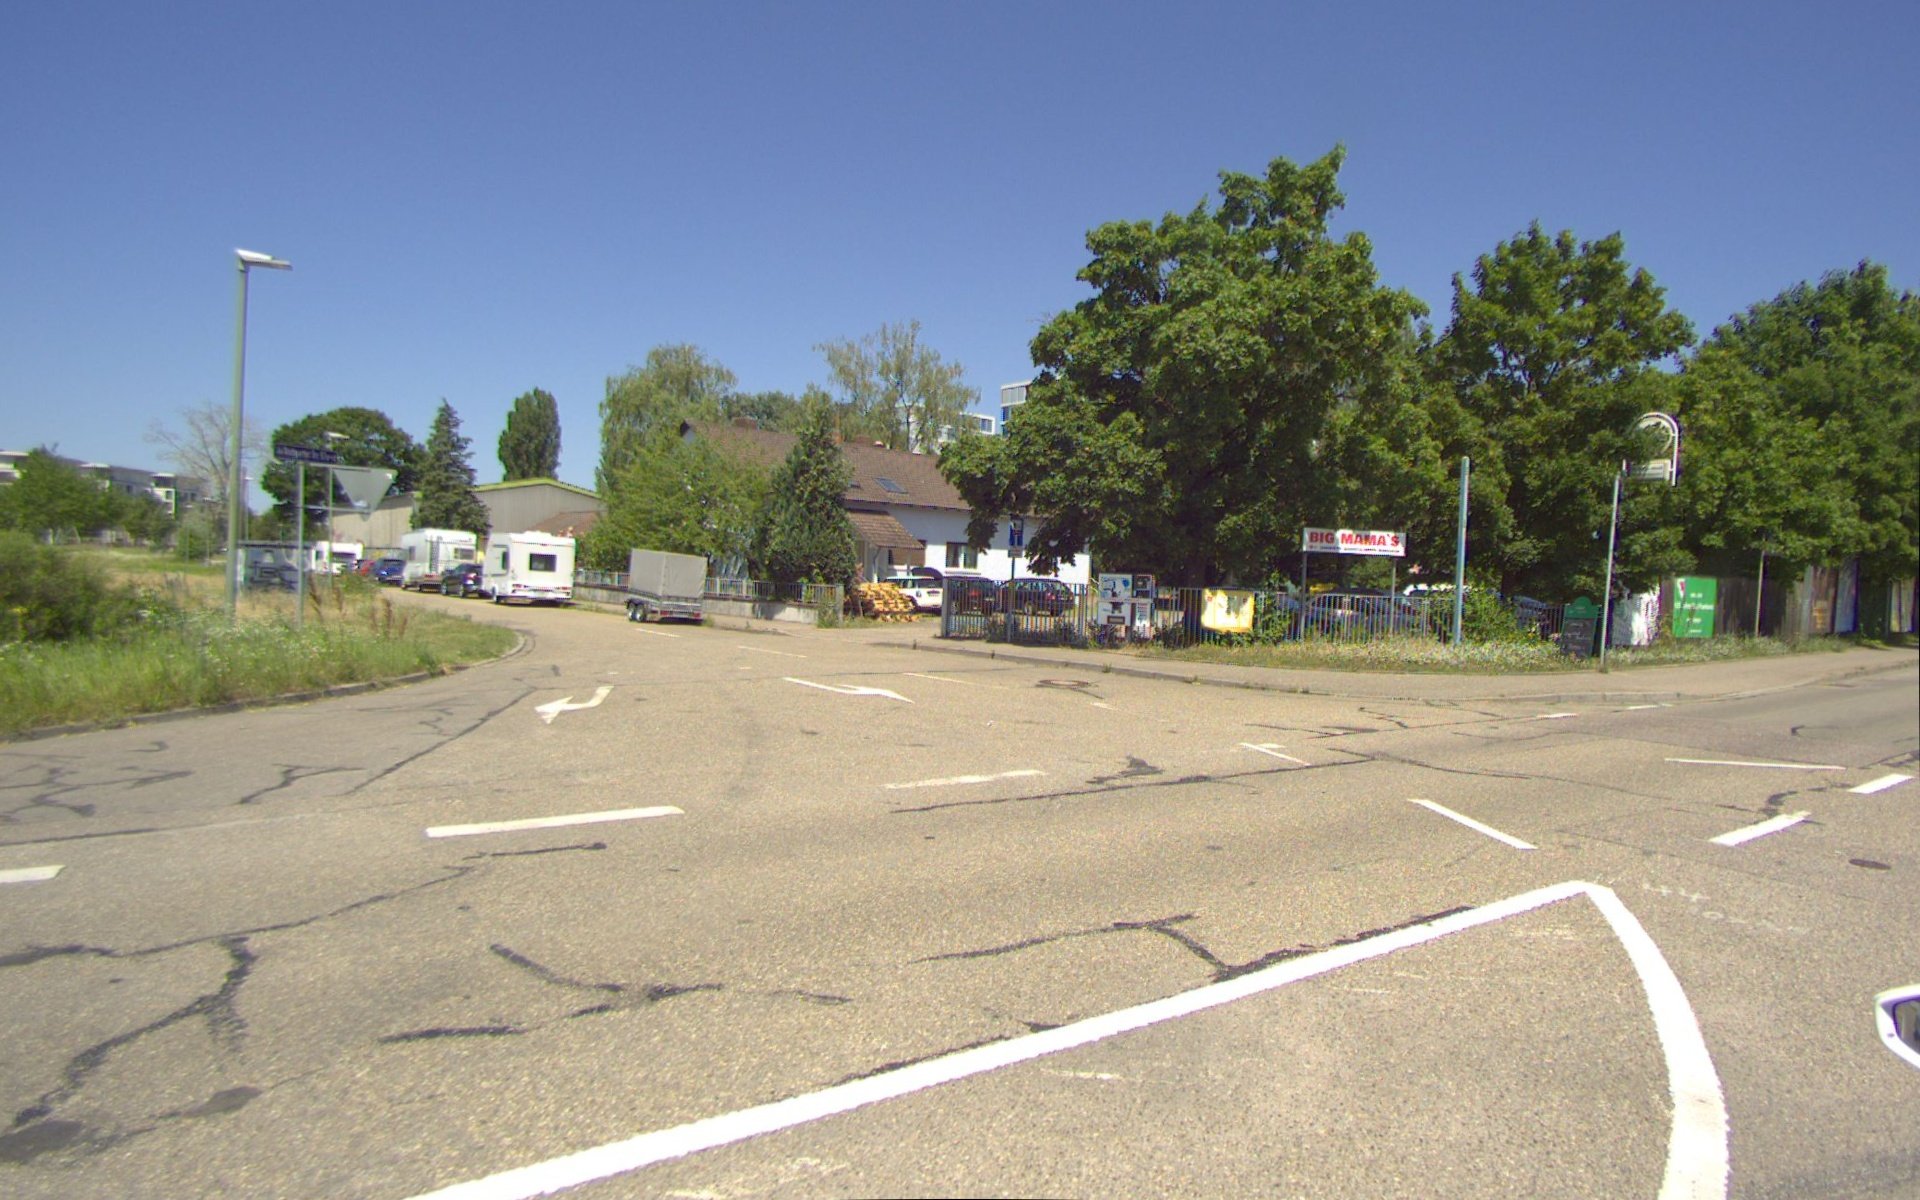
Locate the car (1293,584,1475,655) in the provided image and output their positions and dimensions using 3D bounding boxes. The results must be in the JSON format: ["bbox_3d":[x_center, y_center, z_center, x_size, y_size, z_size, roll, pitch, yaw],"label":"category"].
[{"bbox_3d":[12.699,0.535,30.404,1.978,1.865,4.795,1,1,-32],"label":"car"}]

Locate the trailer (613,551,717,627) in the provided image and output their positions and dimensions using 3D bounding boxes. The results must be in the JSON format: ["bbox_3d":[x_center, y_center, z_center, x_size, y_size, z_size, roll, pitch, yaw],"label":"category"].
[{"bbox_3d":[-8.736,-0.347,29.569,1.745,2.073,3.386,1,1,-39],"label":"trailer"}]

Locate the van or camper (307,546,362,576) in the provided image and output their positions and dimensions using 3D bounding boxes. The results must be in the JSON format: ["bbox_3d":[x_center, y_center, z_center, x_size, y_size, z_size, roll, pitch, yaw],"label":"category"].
[{"bbox_3d":[-43.216,-2.698,69.350,2.341,1.905,4.996,1,1,-42],"label":"van or camper"}]

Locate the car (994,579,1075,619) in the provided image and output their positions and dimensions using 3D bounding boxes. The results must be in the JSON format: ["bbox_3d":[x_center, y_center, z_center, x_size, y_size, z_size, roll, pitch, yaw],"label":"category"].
[{"bbox_3d":[2.963,-0.046,40.461,1.530,1.466,3.108,1,1,-37],"label":"car"}]

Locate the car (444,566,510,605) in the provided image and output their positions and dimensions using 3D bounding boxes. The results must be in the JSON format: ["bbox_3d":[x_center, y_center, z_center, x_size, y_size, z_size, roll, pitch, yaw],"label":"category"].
[{"bbox_3d":[-21.350,-0.649,44.287,1.897,1.573,3.958,1,2,-37],"label":"car"}]

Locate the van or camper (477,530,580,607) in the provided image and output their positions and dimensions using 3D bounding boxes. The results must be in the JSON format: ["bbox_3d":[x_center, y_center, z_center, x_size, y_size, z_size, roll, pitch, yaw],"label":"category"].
[{"bbox_3d":[-16.466,-1.220,38.221,2.471,2.626,4.415,1,4,-39],"label":"van or camper"}]

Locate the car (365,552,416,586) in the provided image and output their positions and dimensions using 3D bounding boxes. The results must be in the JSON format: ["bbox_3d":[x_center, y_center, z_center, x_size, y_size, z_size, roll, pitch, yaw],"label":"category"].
[{"bbox_3d":[-31.872,-1.750,56.173,1.744,1.795,3.535,1,1,-42],"label":"car"}]

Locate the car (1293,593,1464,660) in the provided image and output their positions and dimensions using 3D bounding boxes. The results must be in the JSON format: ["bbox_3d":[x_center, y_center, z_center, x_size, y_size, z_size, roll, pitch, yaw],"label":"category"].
[{"bbox_3d":[11.177,0.662,27.013,1.793,1.546,3.833,1,1,-37],"label":"car"}]

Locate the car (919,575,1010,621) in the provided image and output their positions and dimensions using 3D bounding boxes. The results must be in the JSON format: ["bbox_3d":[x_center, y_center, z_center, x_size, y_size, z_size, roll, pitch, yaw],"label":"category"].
[{"bbox_3d":[0.129,-0.098,38.108,1.757,1.586,3.309,1,1,-37],"label":"car"}]

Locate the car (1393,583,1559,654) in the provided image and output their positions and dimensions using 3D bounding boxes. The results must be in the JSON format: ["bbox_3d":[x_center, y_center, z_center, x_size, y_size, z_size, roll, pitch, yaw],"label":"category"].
[{"bbox_3d":[16.224,0.538,31.779,1.767,2.003,4.271,1,1,-38],"label":"car"}]

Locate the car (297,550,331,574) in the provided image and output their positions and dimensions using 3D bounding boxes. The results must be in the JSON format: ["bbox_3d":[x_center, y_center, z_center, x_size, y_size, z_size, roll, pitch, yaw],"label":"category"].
[{"bbox_3d":[-51.654,-3.028,80.246,1.744,1.795,3.535,1,2,-42],"label":"car"}]

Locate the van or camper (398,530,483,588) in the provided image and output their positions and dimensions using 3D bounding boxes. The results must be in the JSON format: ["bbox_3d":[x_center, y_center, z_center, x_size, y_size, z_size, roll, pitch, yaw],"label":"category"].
[{"bbox_3d":[-25.496,-2.004,49.184,2.452,2.628,5.899,1,2,-40],"label":"van or camper"}]

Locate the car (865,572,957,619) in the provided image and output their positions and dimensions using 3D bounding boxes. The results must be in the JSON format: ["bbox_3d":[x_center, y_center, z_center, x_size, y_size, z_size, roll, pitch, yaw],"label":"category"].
[{"bbox_3d":[-1.834,-0.182,36.658,1.757,1.598,3.309,1,1,-37],"label":"car"}]
